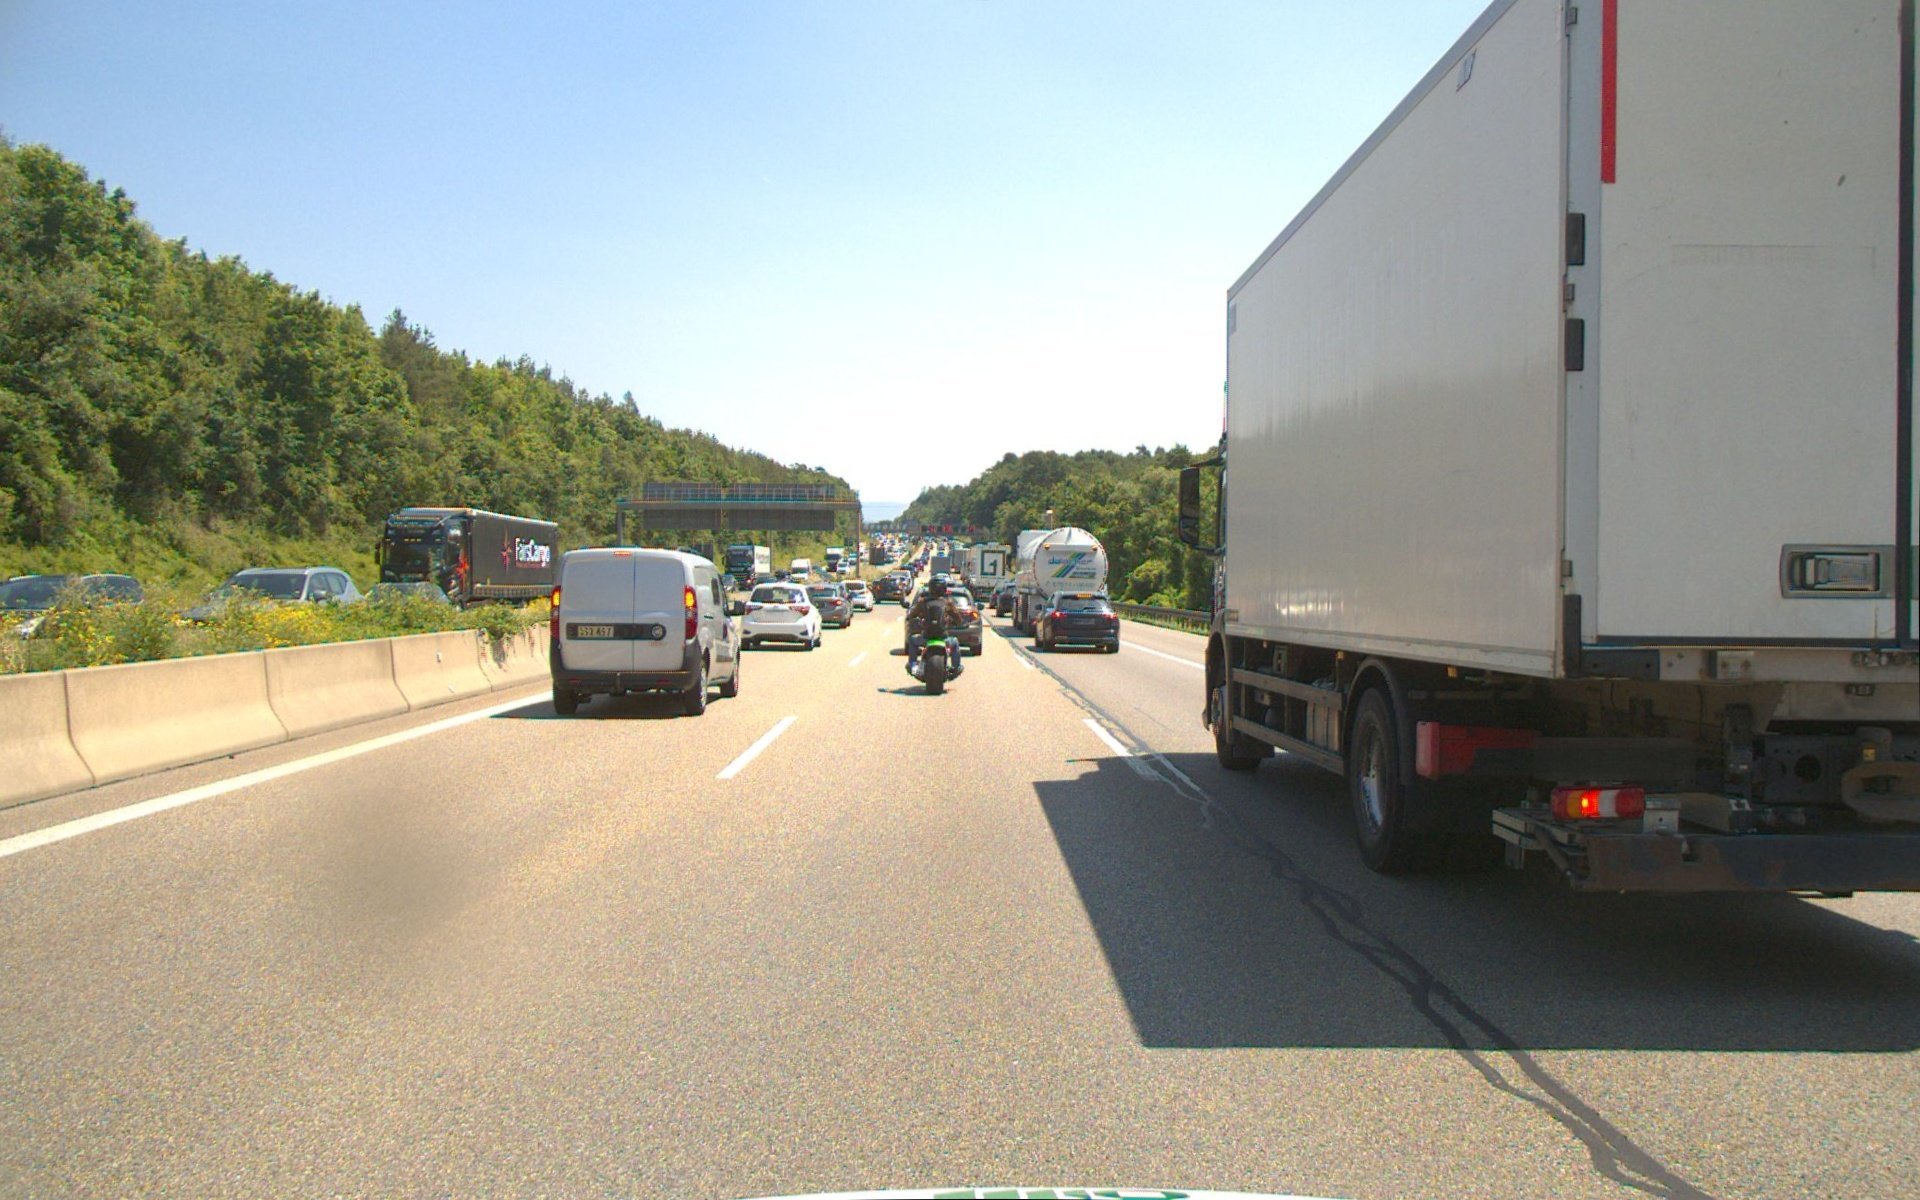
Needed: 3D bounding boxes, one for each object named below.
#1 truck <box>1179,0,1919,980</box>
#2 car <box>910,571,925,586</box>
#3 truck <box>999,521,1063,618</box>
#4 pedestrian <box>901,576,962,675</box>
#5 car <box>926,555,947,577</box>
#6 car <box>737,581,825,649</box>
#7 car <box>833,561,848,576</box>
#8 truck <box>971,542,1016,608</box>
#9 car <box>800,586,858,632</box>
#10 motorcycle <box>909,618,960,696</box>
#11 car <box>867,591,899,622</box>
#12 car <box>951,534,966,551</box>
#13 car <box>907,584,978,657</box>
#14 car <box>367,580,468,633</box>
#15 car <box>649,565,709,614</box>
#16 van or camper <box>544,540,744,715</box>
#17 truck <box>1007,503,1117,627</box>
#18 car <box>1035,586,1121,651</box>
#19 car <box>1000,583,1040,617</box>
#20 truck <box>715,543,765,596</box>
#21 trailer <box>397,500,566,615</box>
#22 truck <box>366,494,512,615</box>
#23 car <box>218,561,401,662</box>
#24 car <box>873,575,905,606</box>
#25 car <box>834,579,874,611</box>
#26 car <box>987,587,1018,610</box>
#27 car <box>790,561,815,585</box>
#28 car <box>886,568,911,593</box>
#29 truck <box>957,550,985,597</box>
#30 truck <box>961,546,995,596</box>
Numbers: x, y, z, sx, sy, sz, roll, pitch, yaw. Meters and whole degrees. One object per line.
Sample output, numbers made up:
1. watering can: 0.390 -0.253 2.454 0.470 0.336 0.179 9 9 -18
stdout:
1. truck: 3.474 -0.685 10.762 2.633 3.944 9.779 -2 0 0
2. car: -6.112 -3.124 237.642 1.953 2.049 4.000 1 0 -1
3. truck: 2.732 -1.119 64.522 1.954 3.584 4.748 -2 -1 -3
4. pedestrian: -0.409 0.364 24.104 0.832 1.385 0.961 -2 0 0
5. car: -2.850 -4.134 201.036 2.453 2.632 5.015 0 0 -1
6. car: -4.126 0.311 38.679 1.665 1.504 4.000 0 0 -1
7. car: -18.195 -4.745 251.587 1.841 2.049 4.468 -3 0 0
8. truck: 2.458 -1.842 123.785 2.971 4.621 9.981 1 0 -1
9. car: -4.385 0.277 55.750 1.665 1.504 4.000 0 0 -1
10. motorcycle: -0.350 0.800 23.949 0.677 1.033 2.121 1 0 0
11. car: -5.327 0.466 114.365 1.953 2.049 4.000 -2 0 0
12. car: -0.152 -7.729 223.732 1.953 2.049 3.999 -2 0 -1
13. car: -0.422 0.430 37.761 1.502 1.536 3.999 -2 0 -1
14. car: -15.037 0.164 46.011 1.531 1.390 3.999 -1 0 -1
15. car: -12.444 -0.441 73.551 1.841 2.049 4.468 -3 0 0
16. van or camper: -3.785 0.324 20.497 1.760 1.925 4.158 1 0 -2
17. truck: 3.271 -1.039 55.520 2.927 3.735 9.286 -2 0 -1
18. car: 2.884 0.418 41.138 1.791 1.496 4.000 1 0 -1
19. car: 2.849 0.001 78.958 1.751 1.583 3.803 0 0 -1
20. truck: -20.200 -2.755 152.266 3.649 4.607 7.324 -2 -1 -1
21. trailer: -18.854 -1.465 66.408 2.847 4.043 13.885 -2 0 -1
22. truck: -18.793 -1.513 60.182 2.847 4.043 7.767 -2 -1 -1
23. car: -10.830 0.165 27.829 1.531 1.545 3.999 -1 0 -1
24. car: -4.451 -0.574 104.127 1.841 1.892 4.000 1 0 0
25. car: -5.088 -0.238 79.783 1.665 1.504 4.000 0 0 -1
26. car: 2.588 -0.115 100.827 1.751 1.398 3.803 0 0 -1
27. car: -16.378 -2.825 172.254 1.953 2.418 7.363 0 0 -1
28. car: -5.316 -1.648 143.249 1.890 2.049 4.000 -2 0 0
29. truck: 1.208 -3.017 191.642 2.971 5.229 9.981 1 0 -1
30. truck: 1.723 -2.816 161.679 2.971 4.621 9.981 1 0 -1
